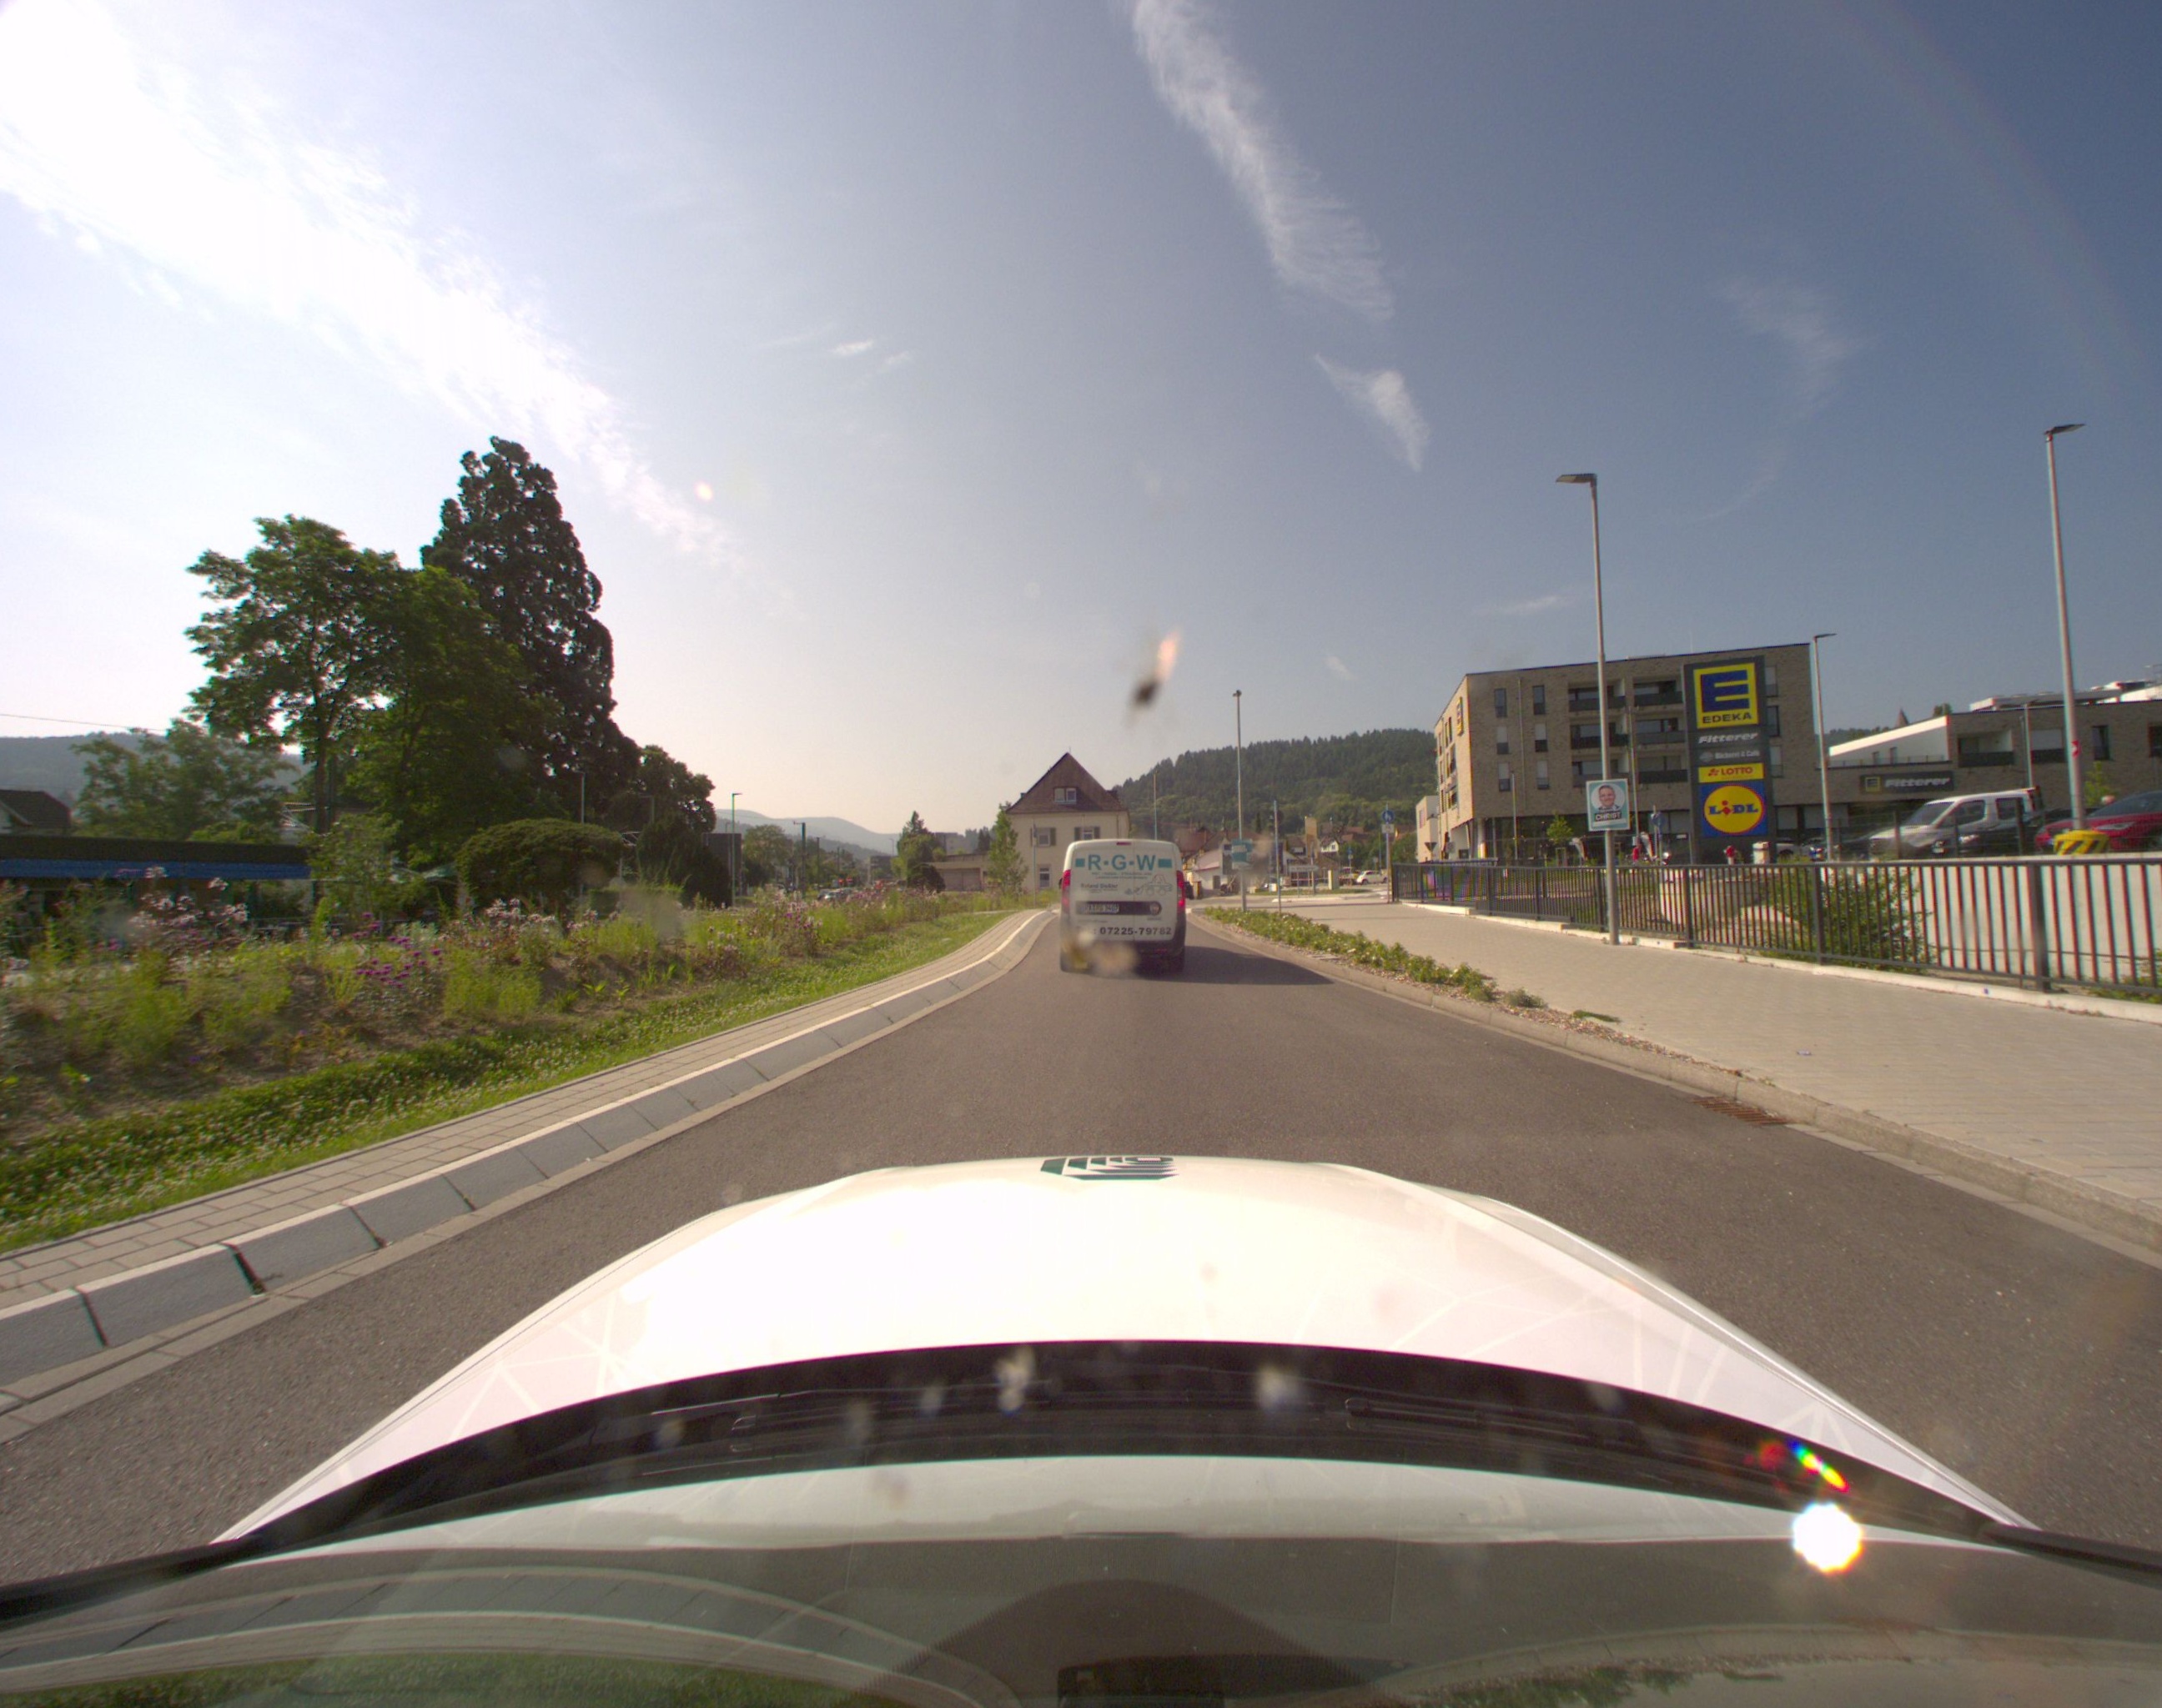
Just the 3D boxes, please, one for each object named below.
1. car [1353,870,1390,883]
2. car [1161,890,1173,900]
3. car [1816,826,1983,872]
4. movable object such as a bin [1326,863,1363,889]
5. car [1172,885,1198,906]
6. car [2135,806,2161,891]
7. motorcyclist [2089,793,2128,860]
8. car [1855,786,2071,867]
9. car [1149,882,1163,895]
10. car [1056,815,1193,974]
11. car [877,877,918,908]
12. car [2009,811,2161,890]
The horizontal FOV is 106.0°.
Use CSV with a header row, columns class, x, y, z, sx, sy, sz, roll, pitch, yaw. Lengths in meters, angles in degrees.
class,x,y,z,sx,sy,sz,roll,pitch,yaw
car,31.391,2.445,88.036,3.457,1.304,1.470,-2,-2,6
car,9.530,4.513,90.078,1.300,1.003,3.095,-2,-3,5
car,29.992,-0.134,30.011,3.950,1.448,1.687,-3,-3,26
movable object such as a bin,19.975,1.711,61.779,2.426,1.844,1.433,-3,-3,13
car,8.767,3.450,68.439,1.869,1.684,4.011,-3,-3,11
car,20.778,-0.163,13.483,4.035,1.487,1.719,-2,-2,6
motorcyclist,24.186,-0.649,19.177,0.456,1.533,0.426,0,-4,-32
car,27.017,-0.774,25.164,3.950,2.136,2.011,-3,-3,25
car,11.636,5.348,125.753,1.983,2.014,4.006,-2,-3,6
car,0.620,0.567,13.025,1.800,2.078,4.604,0,-1,1
car,-12.731,2.630,56.768,1.803,2.014,4.001,-2,-1,2
car,20.997,-0.078,15.927,3.539,1.430,1.712,-2,-2,4
